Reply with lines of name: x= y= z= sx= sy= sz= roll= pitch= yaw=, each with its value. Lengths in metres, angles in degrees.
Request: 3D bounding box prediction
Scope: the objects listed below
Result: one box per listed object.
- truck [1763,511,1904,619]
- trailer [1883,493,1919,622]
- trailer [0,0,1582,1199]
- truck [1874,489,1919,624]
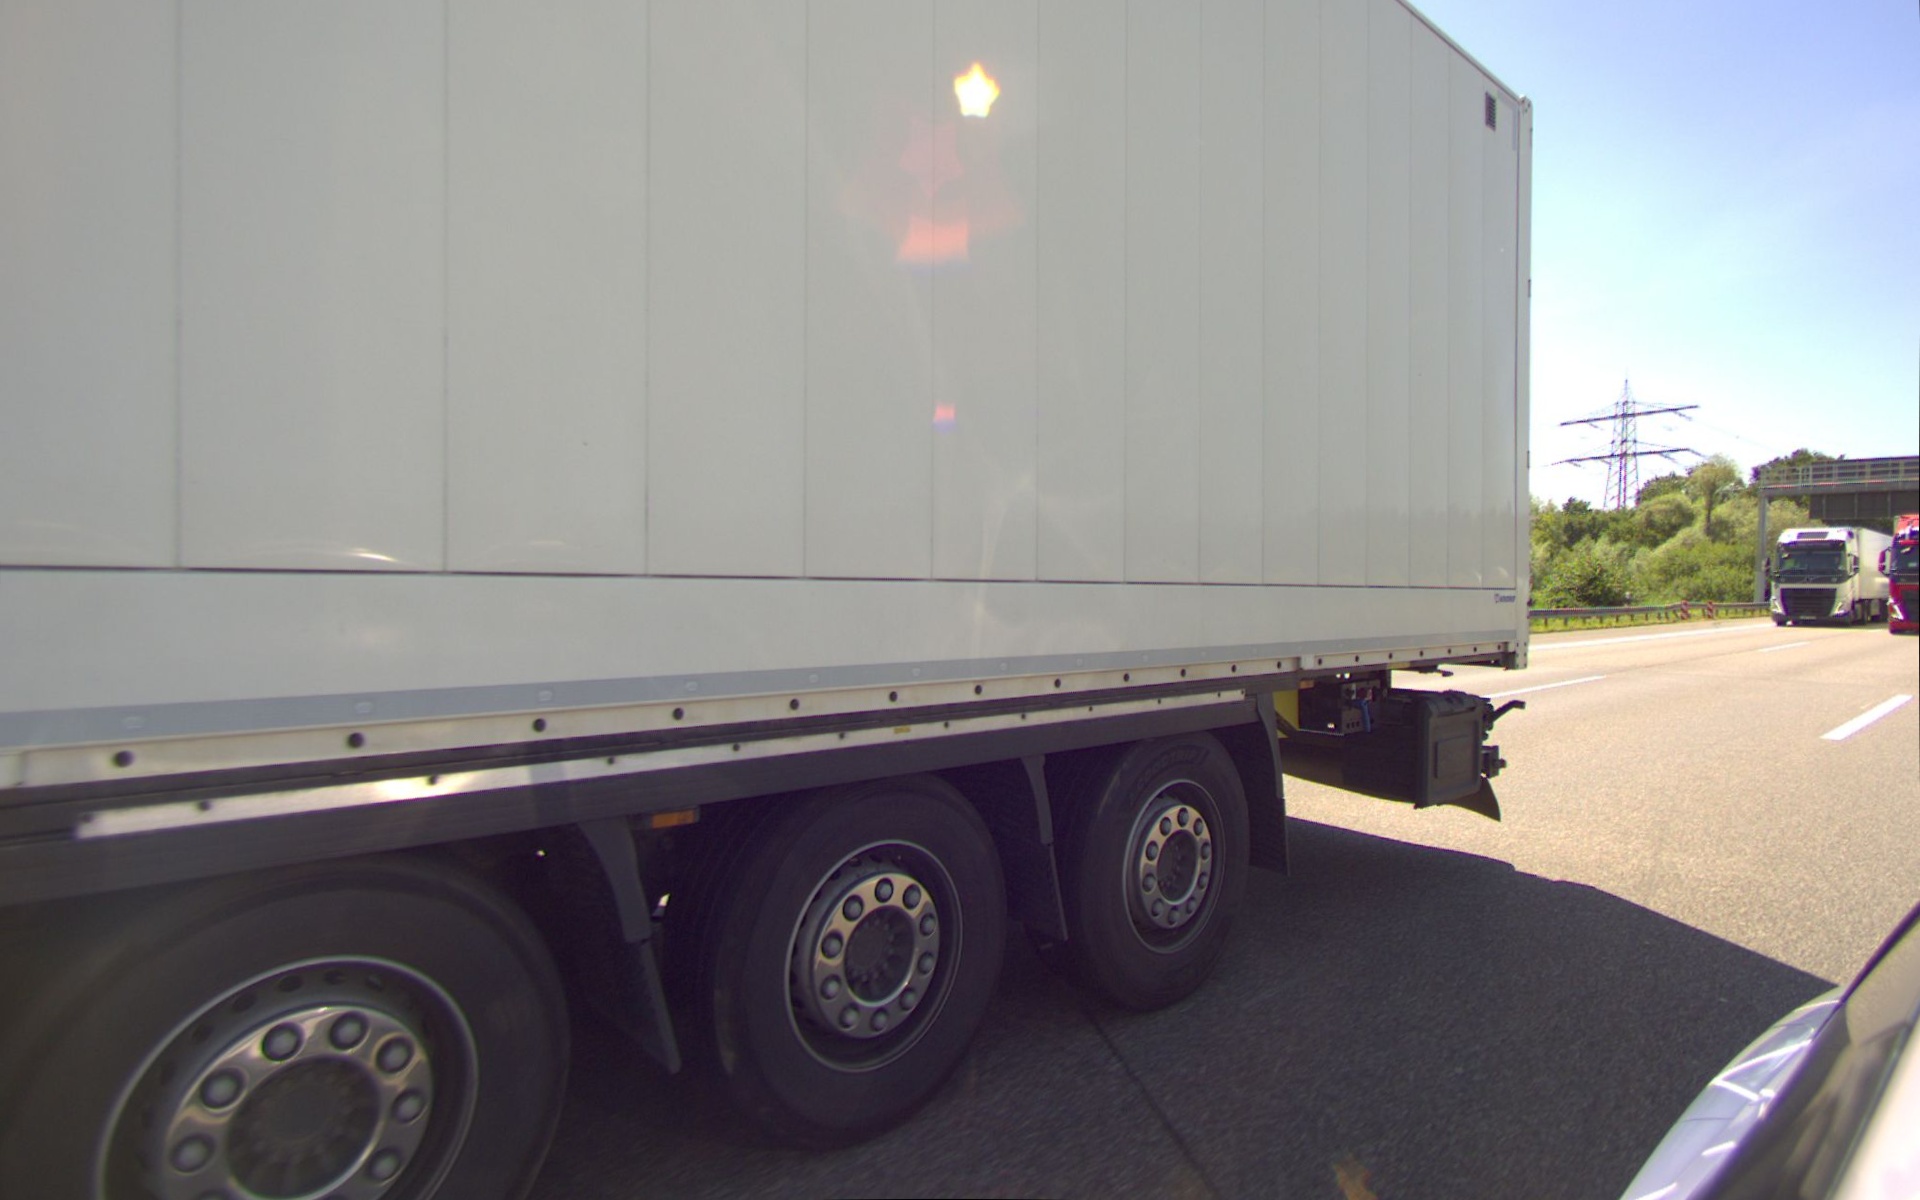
truck: x=37.608 y=-1.447 z=43.367 sx=10.786 sy=4.144 sz=3.031 roll=-1 pitch=1 yaw=-41
trailer: x=36.620 y=-1.479 z=36.840 sx=15.924 sy=4.068 sz=2.942 roll=-1 pitch=1 yaw=-42
trailer: x=-2.126 y=-0.670 z=2.524 sx=12.350 sy=4.086 sz=2.799 roll=-1 pitch=1 yaw=-41
truck: x=31.154 y=-1.348 z=31.848 sx=5.997 sy=4.036 sz=2.945 roll=-1 pitch=1 yaw=-42
